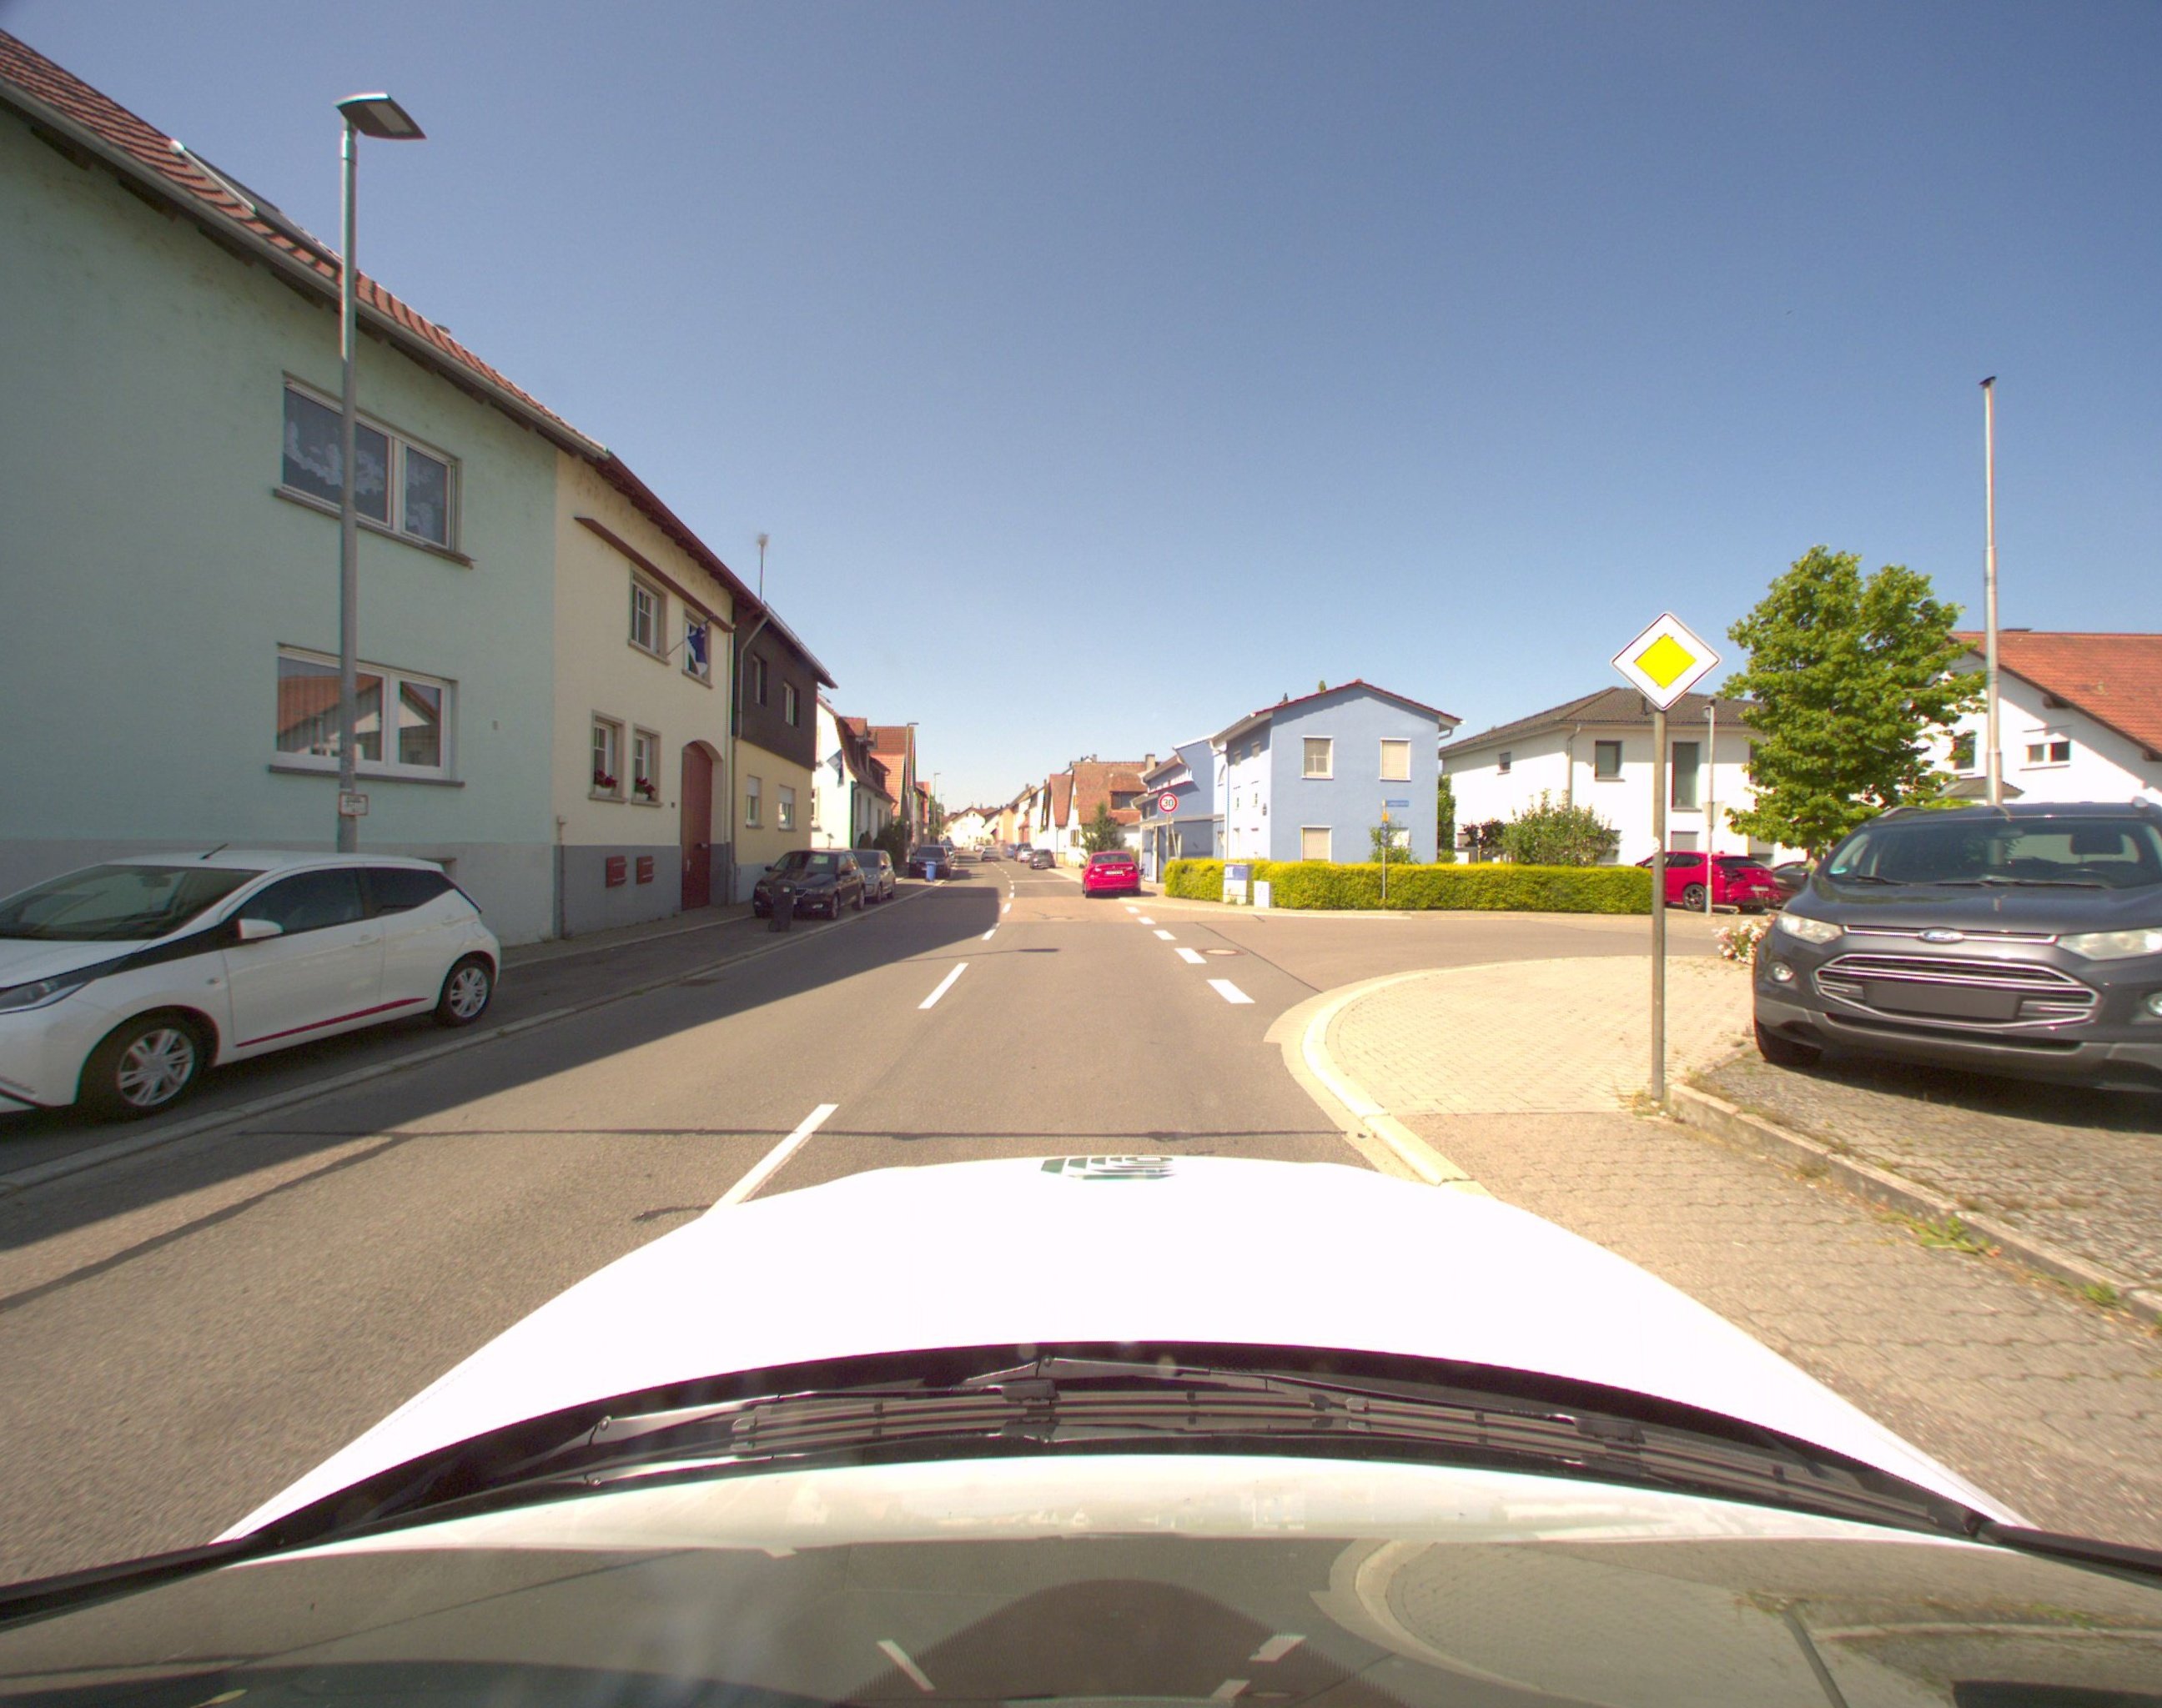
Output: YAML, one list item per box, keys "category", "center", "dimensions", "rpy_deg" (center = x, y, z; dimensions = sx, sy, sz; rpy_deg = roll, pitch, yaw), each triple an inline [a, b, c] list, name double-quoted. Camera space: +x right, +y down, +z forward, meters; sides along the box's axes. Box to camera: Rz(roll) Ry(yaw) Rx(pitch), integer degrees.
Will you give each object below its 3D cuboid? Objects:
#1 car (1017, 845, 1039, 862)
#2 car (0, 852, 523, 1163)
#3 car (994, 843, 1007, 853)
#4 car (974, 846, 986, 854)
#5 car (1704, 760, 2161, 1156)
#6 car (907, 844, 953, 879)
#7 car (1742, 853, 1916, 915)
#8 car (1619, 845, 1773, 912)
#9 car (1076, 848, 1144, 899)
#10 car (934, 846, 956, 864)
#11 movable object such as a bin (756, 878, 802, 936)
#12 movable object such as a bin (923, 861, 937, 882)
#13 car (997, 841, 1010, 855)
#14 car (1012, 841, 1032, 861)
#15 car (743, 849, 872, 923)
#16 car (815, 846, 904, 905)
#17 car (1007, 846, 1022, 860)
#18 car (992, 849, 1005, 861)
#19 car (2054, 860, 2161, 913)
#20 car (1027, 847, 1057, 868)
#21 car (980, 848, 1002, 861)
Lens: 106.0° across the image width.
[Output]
- category: "car"
  center: [-4.905, -0.055, 74.805]
  dimensions: [1.704, 1.496, 3.441]
  rpy_deg: [1, 0, -9]
- category: "car"
  center: [-5.967, 0.724, 5.643]
  dimensions: [1.679, 1.462, 3.648]
  rpy_deg: [0, 0, 0]
- category: "car"
  center: [-11.511, -0.882, 116.117]
  dimensions: [1.766, 1.433, 3.440]
  rpy_deg: [-1, 0, -8]
- category: "car"
  center: [-17.016, -0.625, 136.966]
  dimensions: [1.993, 1.288, 3.792]
  rpy_deg: [-1, 0, -9]
- category: "car"
  center: [5.809, 0.390, 5.133]
  dimensions: [4.131, 1.653, 1.812]
  rpy_deg: [-1, 1, -35]
- category: "car"
  center: [-7.839, 0.360, 42.637]
  dimensions: [1.918, 1.667, 4.656]
  rpy_deg: [2, 0, -6]
- category: "car"
  center: [20.424, 0.756, 22.438]
  dimensions: [1.614, 1.521, 3.474]
  rpy_deg: [2, 0, 0]
- category: "car"
  center: [16.918, 0.623, 22.609]
  dimensions: [1.629, 1.672, 3.474]
  rpy_deg: [2, 0, 0]
- category: "car"
  center: [0.869, 0.606, 26.756]
  dimensions: [1.729, 1.494, 4.348]
  rpy_deg: [-2, 0, -4]
- category: "car"
  center: [-12.358, 0.052, 74.198]
  dimensions: [1.805, 1.547, 4.392]
  rpy_deg: [1, 0, -8]
- category: "movable object such as a bin"
  center: [-5.390, 0.936, 14.564]
  dimensions: [0.551, 0.928, 0.823]
  rpy_deg: [4, 0, -9]
- category: "movable object such as a bin"
  center: [-7.012, 0.808, 37.817]
  dimensions: [0.596, 0.982, 0.530]
  rpy_deg: [1, 0, -7]
- category: "car"
  center: [-11.514, -0.872, 121.029]
  dimensions: [1.766, 2.004, 3.440]
  rpy_deg: [-1, 0, -8]
- category: "car"
  center: [-5.816, -0.342, 79.742]
  dimensions: [1.649, 1.909, 3.614]
  rpy_deg: [1, 0, -9]
- category: "car"
  center: [-6.051, 0.643, 18.480]
  dimensions: [1.674, 1.437, 3.991]
  rpy_deg: [3, 0, -3]
- category: "car"
  center: [-6.335, 0.573, 23.654]
  dimensions: [1.637, 1.501, 3.777]
  rpy_deg: [3, 0, -3]
- category: "car"
  center: [-7.426, -0.173, 90.671]
  dimensions: [1.420, 1.515, 3.293]
  rpy_deg: [1, 0, -9]
- category: "car"
  center: [-10.922, 0.110, 107.902]
  dimensions: [1.420, 1.515, 3.293]
  rpy_deg: [1, 0, -9]
- category: "car"
  center: [30.301, 0.890, 22.482]
  dimensions: [1.686, 1.429, 4.388]
  rpy_deg: [0, 0, 0]
- category: "car"
  center: [-2.822, 0.202, 58.297]
  dimensions: [1.704, 1.433, 3.877]
  rpy_deg: [0, 0, -9]
- category: "car"
  center: [-9.104, 0.066, 82.101]
  dimensions: [1.993, 1.288, 3.988]
  rpy_deg: [-1, 0, -9]
